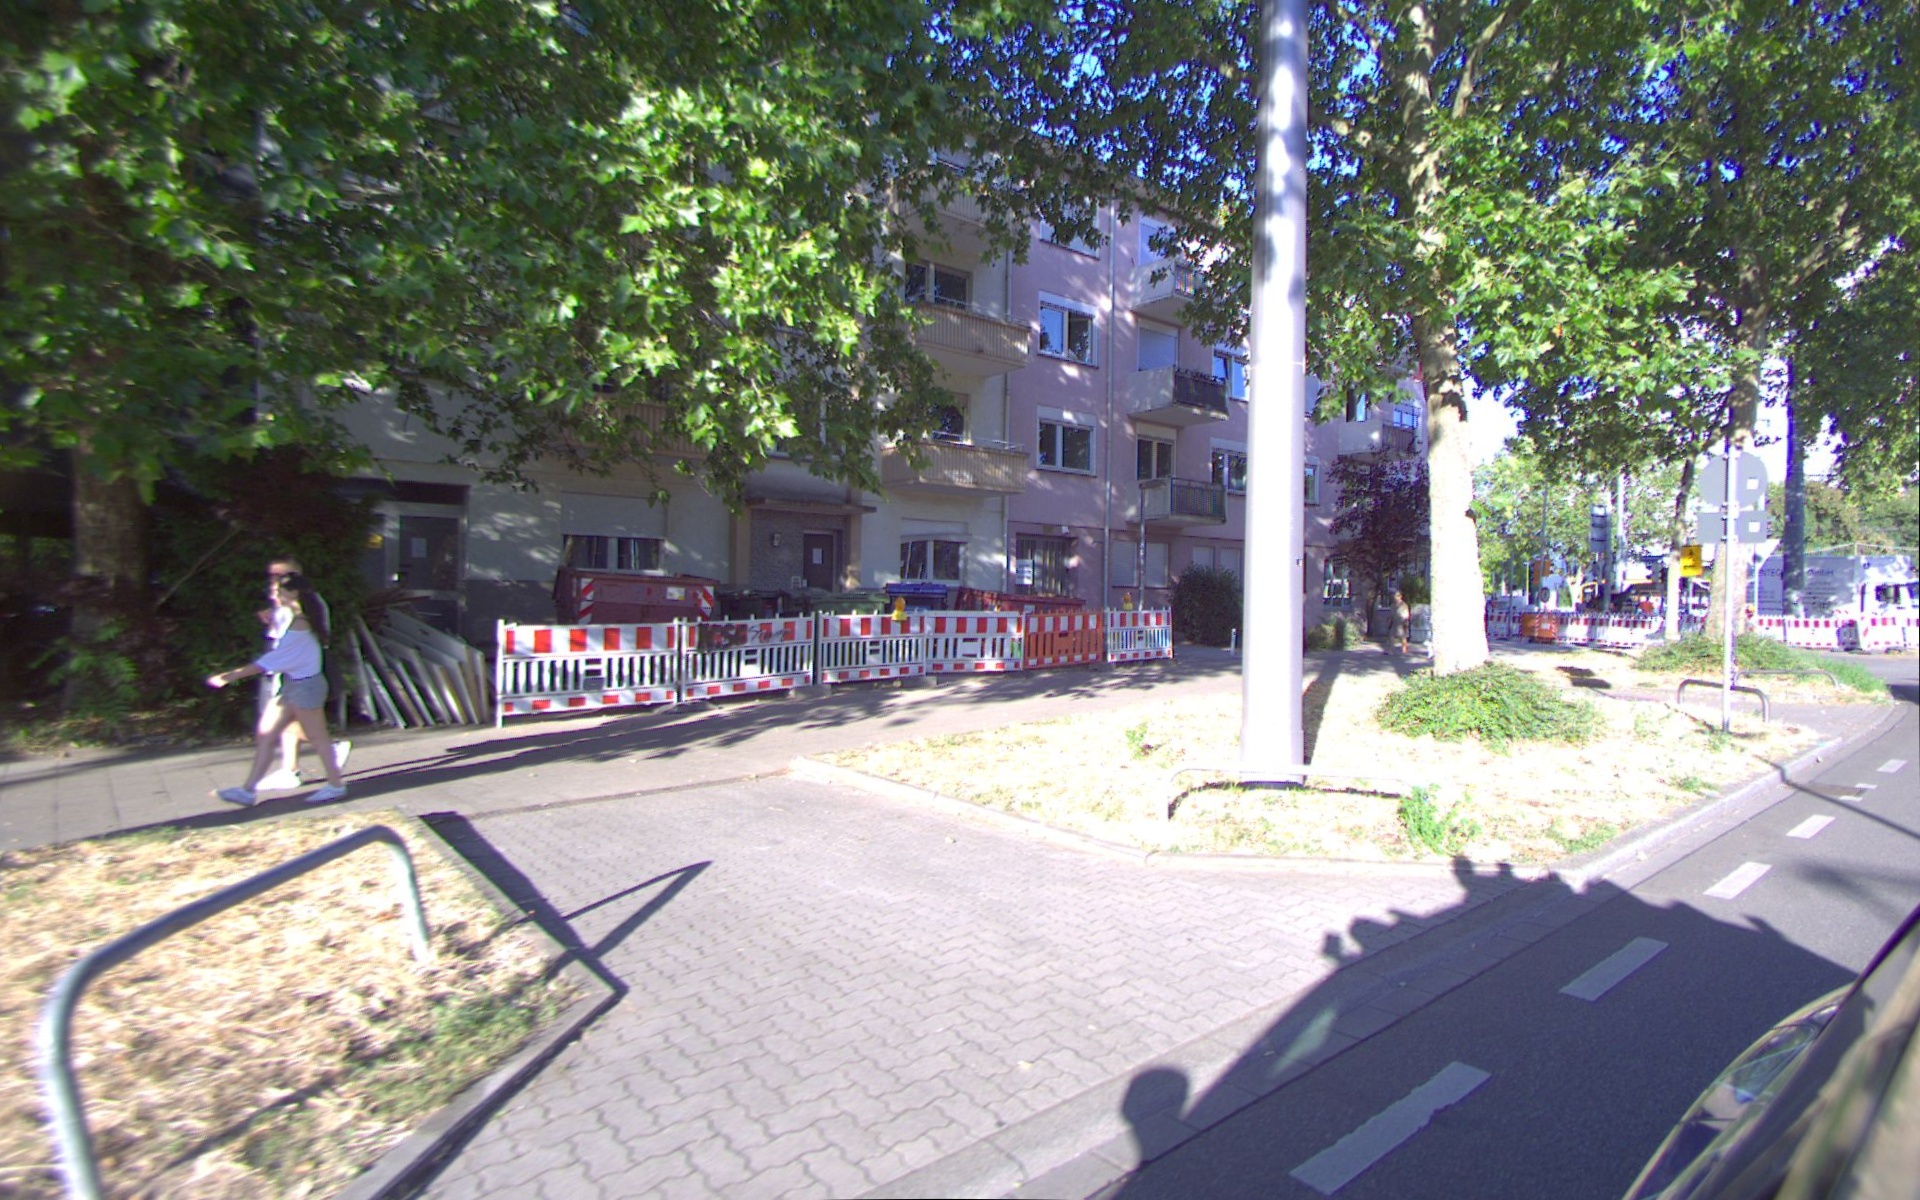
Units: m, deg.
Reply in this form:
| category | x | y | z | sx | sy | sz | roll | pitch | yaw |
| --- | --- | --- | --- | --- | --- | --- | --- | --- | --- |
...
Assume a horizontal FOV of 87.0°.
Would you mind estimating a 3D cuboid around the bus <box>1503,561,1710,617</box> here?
| category | x | y | z | sx | sy | sz | roll | pitch | yaw |
| --- | --- | --- | --- | --- | --- | --- | --- | --- | --- |
| bus | 46.234 | -0.824 | 73.028 | 3.032 | 3.769 | 12.292 | 0 | 1 | -38 |

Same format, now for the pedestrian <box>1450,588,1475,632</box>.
| category | x | y | z | sx | sy | sz | roll | pitch | yaw |
| --- | --- | --- | --- | --- | --- | --- | --- | --- | --- |
| pedestrian | 19.923 | 0.401 | 40.118 | 0.573 | 1.730 | 0.680 | 2 | -2 | -9 |

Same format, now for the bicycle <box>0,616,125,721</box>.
| category | x | y | z | sx | sy | sz | roll | pitch | yaw |
| --- | --- | --- | --- | --- | --- | --- | --- | --- | --- |
| bicycle | -9.669 | 0.689 | 10.136 | 0.647 | 0.982 | 1.936 | 1 | 2 | 37 |

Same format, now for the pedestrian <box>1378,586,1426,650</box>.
| category | x | y | z | sx | sy | sz | roll | pitch | yaw |
| --- | --- | --- | --- | --- | --- | --- | --- | --- | --- |
| pedestrian | 10.504 | 0.416 | 24.068 | 0.802 | 1.493 | 0.791 | 1 | 0 | -43 |

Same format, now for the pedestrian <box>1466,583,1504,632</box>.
| category | x | y | z | sx | sy | sz | roll | pitch | yaw |
| --- | --- | --- | --- | --- | --- | --- | --- | --- | --- |
| pedestrian | 20.898 | 0.321 | 40.301 | 0.823 | 1.894 | 1.101 | 3 | -3 | -14 |

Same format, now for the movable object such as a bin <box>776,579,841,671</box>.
| category | x | y | z | sx | sy | sz | roll | pitch | yaw |
| --- | --- | --- | --- | --- | --- | --- | --- | --- | --- |
| movable object such as a bin | -2.501 | 0.386 | 16.590 | 0.822 | 1.452 | 1.301 | 0 | 0 | -19 |

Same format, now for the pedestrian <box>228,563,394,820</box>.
| category | x | y | z | sx | sy | sz | roll | pitch | yaw |
| --- | --- | --- | --- | --- | --- | --- | --- | --- | --- |
| pedestrian | -4.384 | 0.563 | 6.834 | 0.802 | 1.592 | 0.791 | 1 | 0 | -43 |

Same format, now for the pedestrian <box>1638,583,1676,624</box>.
| category | x | y | z | sx | sy | sz | roll | pitch | yaw |
| --- | --- | --- | --- | --- | --- | --- | --- | --- | --- |
| pedestrian | 31.710 | 0.155 | 46.070 | 0.955 | 1.821 | 1.072 | 0 | 0 | -18 |

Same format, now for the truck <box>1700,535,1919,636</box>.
| category | x | y | z | sx | sy | sz | roll | pitch | yaw |
| --- | --- | --- | --- | --- | --- | --- | --- | --- | --- |
| truck | 34.843 | -0.531 | 40.575 | 2.763 | 3.586 | 8.997 | 0 | 0 | -9 |

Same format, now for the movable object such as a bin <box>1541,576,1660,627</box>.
| category | x | y | z | sx | sy | sz | roll | pitch | yaw |
| --- | --- | --- | --- | --- | --- | --- | --- | --- | --- |
| movable object such as a bin | 31.057 | 0.046 | 49.280 | 1.959 | 2.285 | 5.215 | -1 | 0 | -8 |

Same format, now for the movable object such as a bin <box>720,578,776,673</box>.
| category | x | y | z | sx | sy | sz | roll | pitch | yaw |
| --- | --- | --- | --- | --- | --- | --- | --- | --- | --- |
| movable object such as a bin | -3.375 | 0.383 | 16.085 | 0.822 | 1.452 | 1.301 | 0 | 0 | -12 |

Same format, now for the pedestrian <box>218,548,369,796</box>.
| category | x | y | z | sx | sy | sz | roll | pitch | yaw |
| --- | --- | --- | --- | --- | --- | --- | --- | --- | --- |
| pedestrian | -4.907 | 0.478 | 7.448 | 0.802 | 1.688 | 0.791 | 0 | 1 | -43 |
